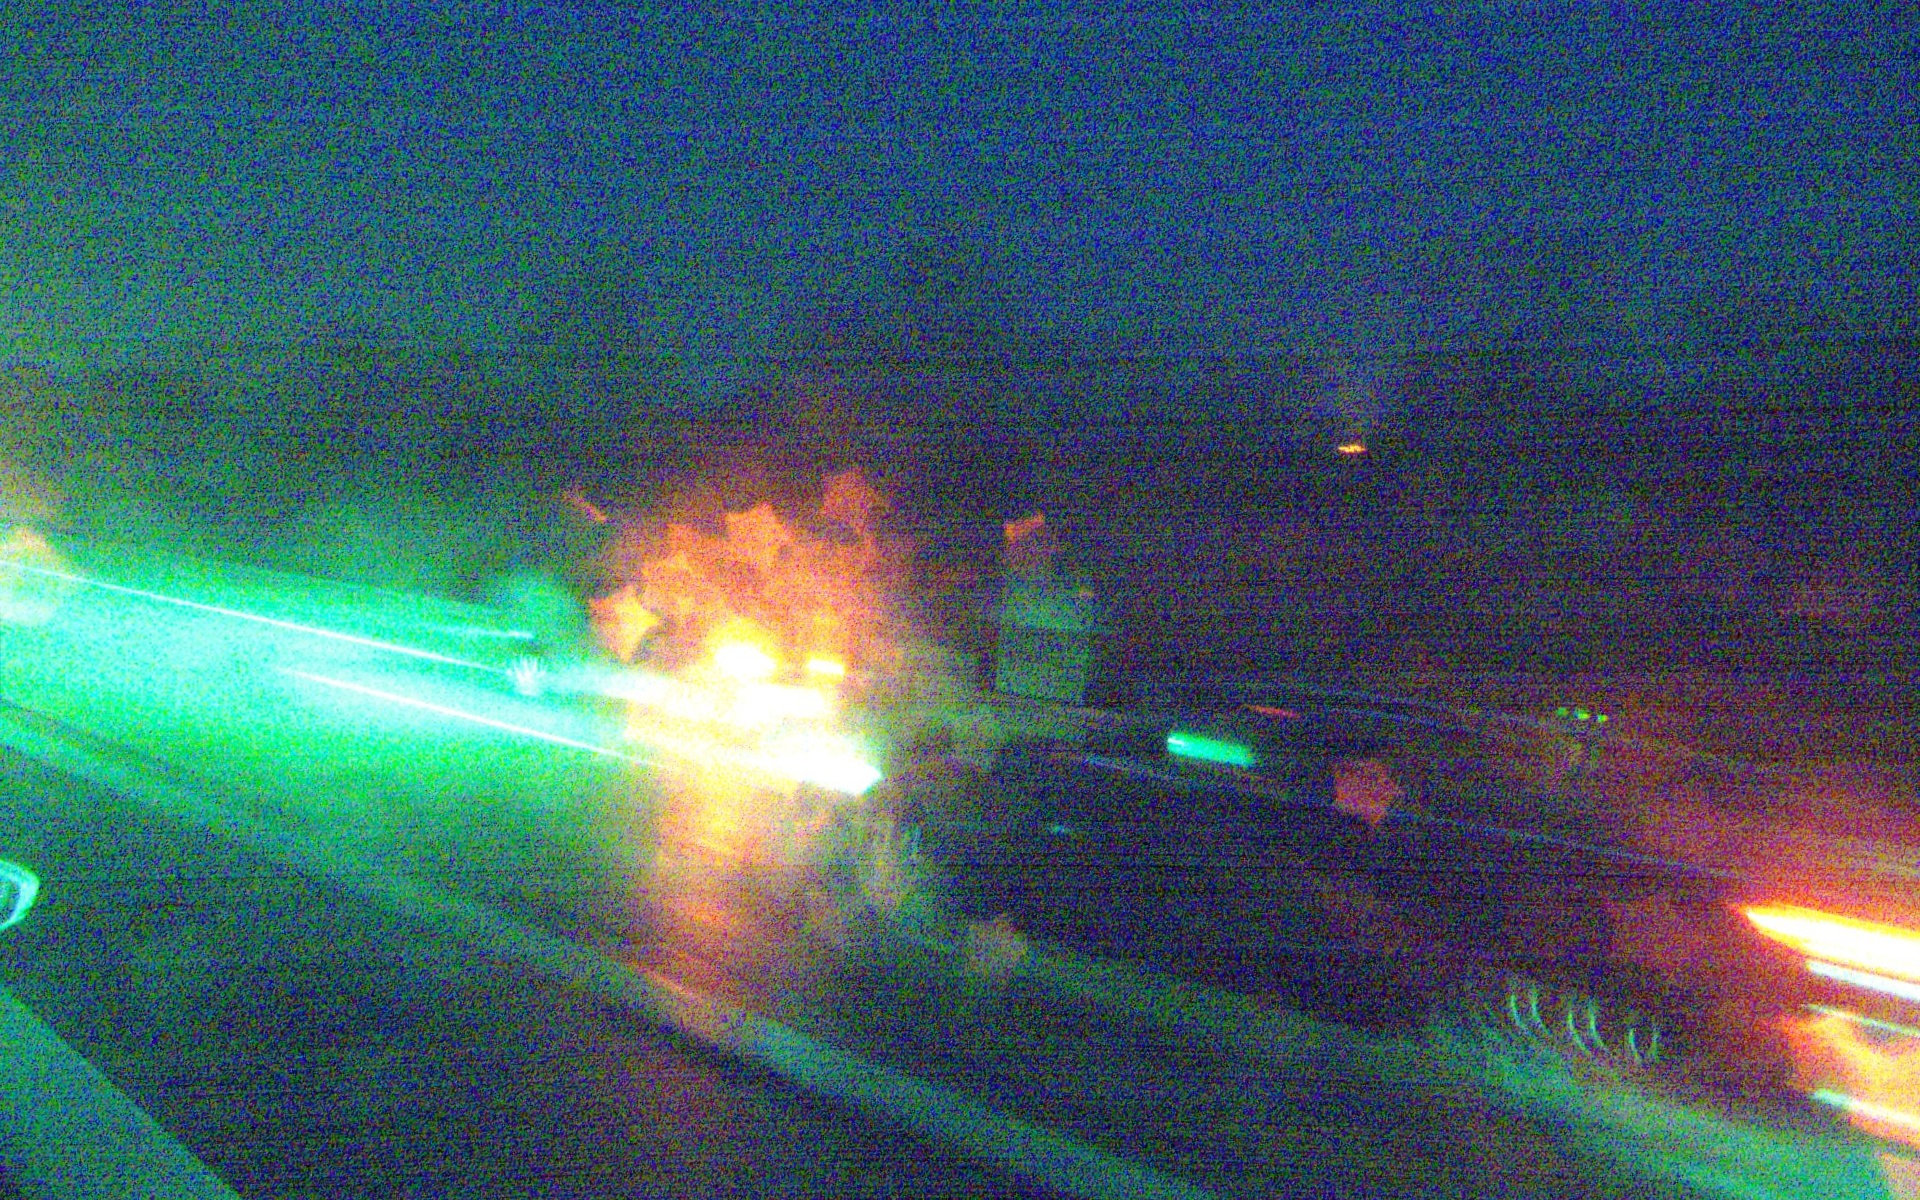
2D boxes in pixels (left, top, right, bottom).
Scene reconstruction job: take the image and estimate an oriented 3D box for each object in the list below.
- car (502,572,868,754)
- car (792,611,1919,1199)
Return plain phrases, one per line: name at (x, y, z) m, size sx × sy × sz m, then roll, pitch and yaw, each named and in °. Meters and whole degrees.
car at (-3.312, 0.697, 12.014) m, size 3.973 × 1.515 × 1.724 m, roll 7°, pitch -1°, yaw 28°
car at (1.594, 1.092, 4.785) m, size 4.260 × 1.466 × 1.999 m, roll 7°, pitch -1°, yaw 28°
